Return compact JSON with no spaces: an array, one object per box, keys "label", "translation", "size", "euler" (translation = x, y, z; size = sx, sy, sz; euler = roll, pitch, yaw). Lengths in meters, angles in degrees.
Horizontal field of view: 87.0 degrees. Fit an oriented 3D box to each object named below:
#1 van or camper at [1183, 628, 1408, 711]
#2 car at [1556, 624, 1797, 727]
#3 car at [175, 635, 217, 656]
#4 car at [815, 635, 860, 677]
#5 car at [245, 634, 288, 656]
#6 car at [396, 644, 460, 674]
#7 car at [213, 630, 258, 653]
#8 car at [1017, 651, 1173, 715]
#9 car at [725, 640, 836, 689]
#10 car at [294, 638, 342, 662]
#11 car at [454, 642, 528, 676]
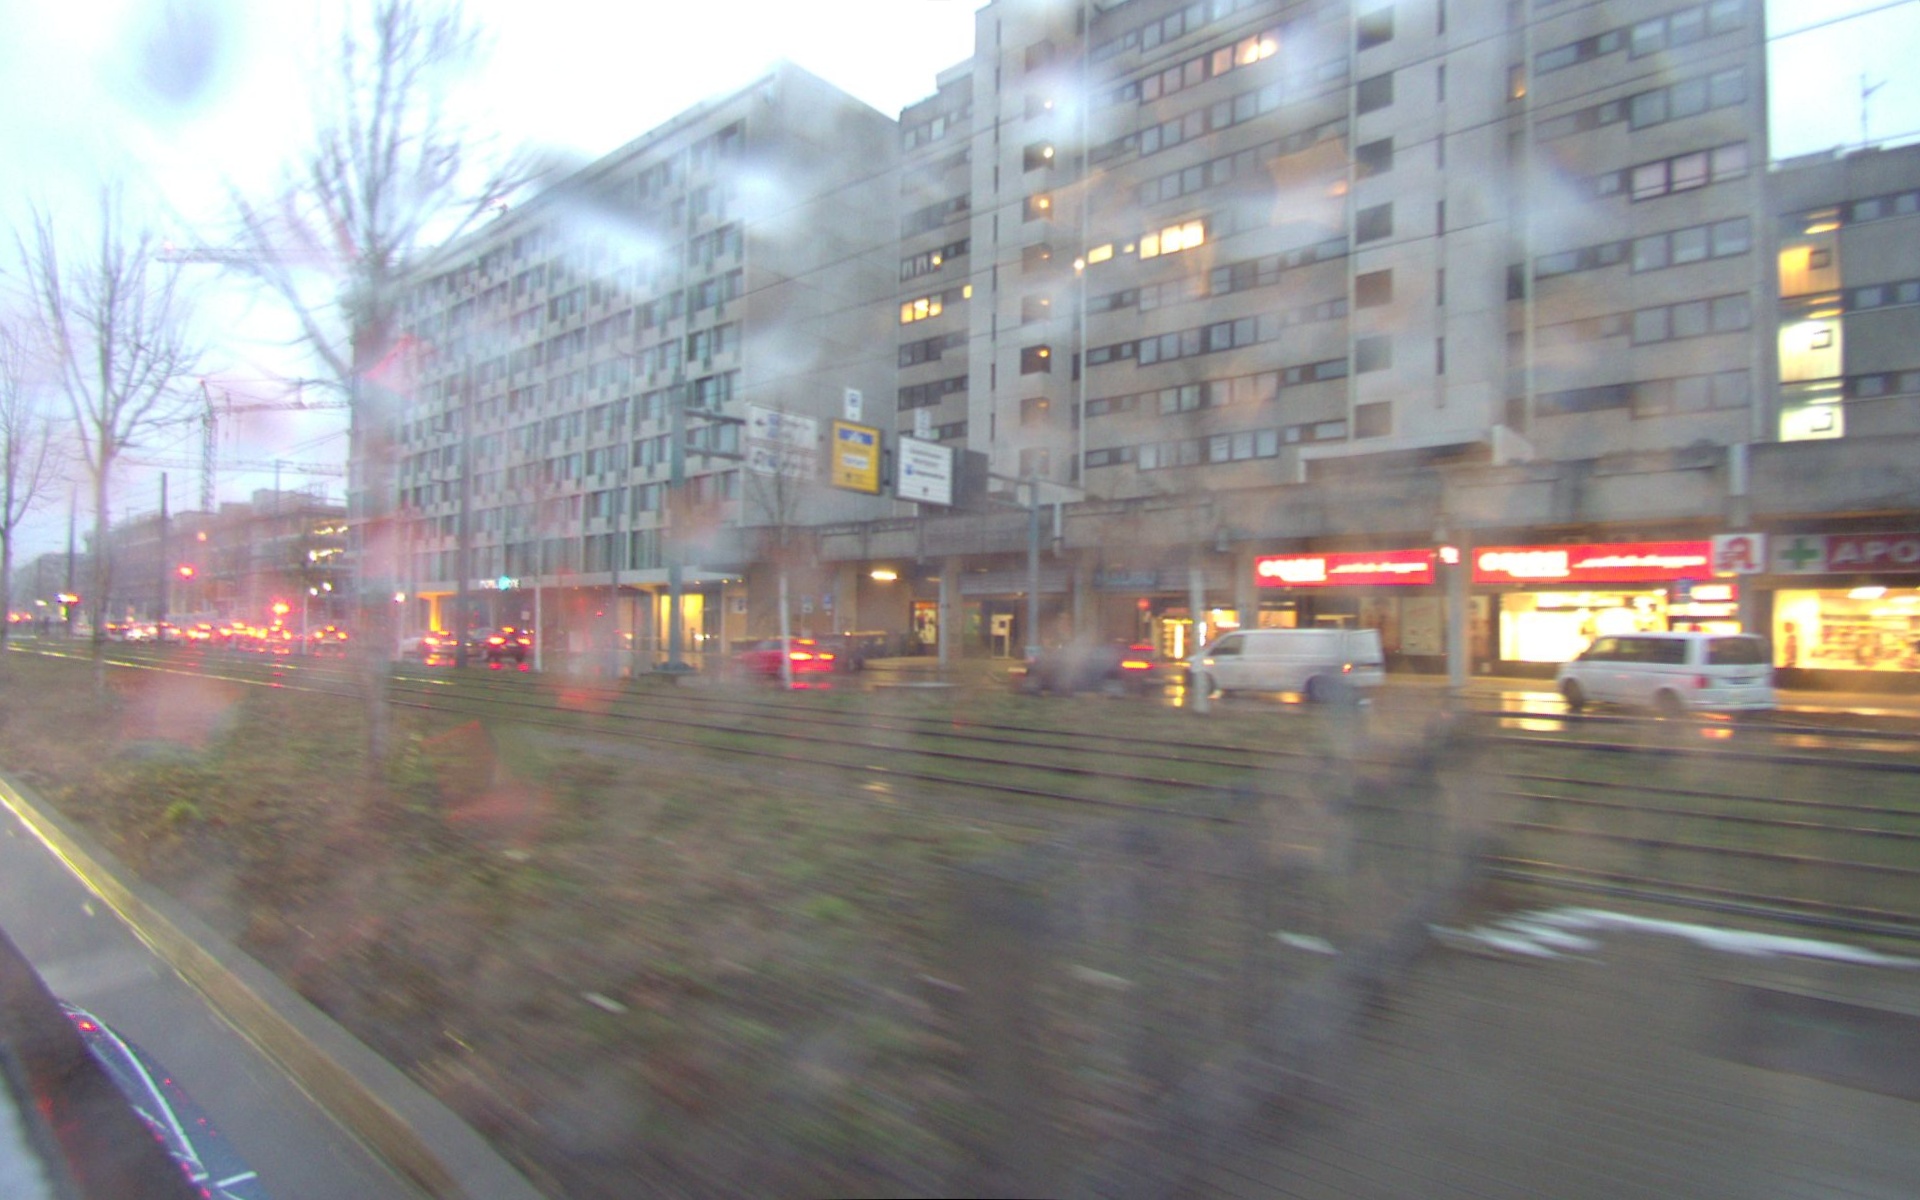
[{"label":"van or camper","translation":[9.240,1.848,28.253],"size":[5.651,2.113,1.973],"euler":[-2,-3,41]},{"label":"car","translation":[16.349,1.631,23.468],"size":[1.969,2.029,4.580],"euler":[0,0,-7]},{"label":"car","translation":[-56.219,3.317,74.457],"size":[3.870,1.460,1.576],"euler":[-1,-2,40]},{"label":"car","translation":[-5.094,2.298,42.370],"size":[1.656,1.630,3.781],"euler":[1,-2,-4]},{"label":"car","translation":[-50.505,3.260,73.655],"size":[3.870,1.460,1.576],"euler":[-1,-2,40]},{"label":"car","translation":[-29.004,3.178,55.106],"size":[3.870,1.460,1.732],"euler":[-1,-2,40]},{"label":"car","translation":[-49.753,2.842,69.443],"size":[3.870,1.460,1.576],"euler":[-1,-2,40]},{"label":"car","translation":[3.506,2.106,26.503],"size":[3.764,1.460,1.656],"euler":[-1,-2,40]},{"label":"car","translation":[-6.281,2.197,35.238],"size":[3.887,1.523,1.732],"euler":[-1,-2,40]},{"label":"car","translation":[-42.206,3.248,66.500],"size":[3.870,1.460,1.576],"euler":[-1,-2,40]},{"label":"car","translation":[-22.471,2.801,48.467],"size":[3.870,1.460,1.732],"euler":[-1,-2,40]}]
